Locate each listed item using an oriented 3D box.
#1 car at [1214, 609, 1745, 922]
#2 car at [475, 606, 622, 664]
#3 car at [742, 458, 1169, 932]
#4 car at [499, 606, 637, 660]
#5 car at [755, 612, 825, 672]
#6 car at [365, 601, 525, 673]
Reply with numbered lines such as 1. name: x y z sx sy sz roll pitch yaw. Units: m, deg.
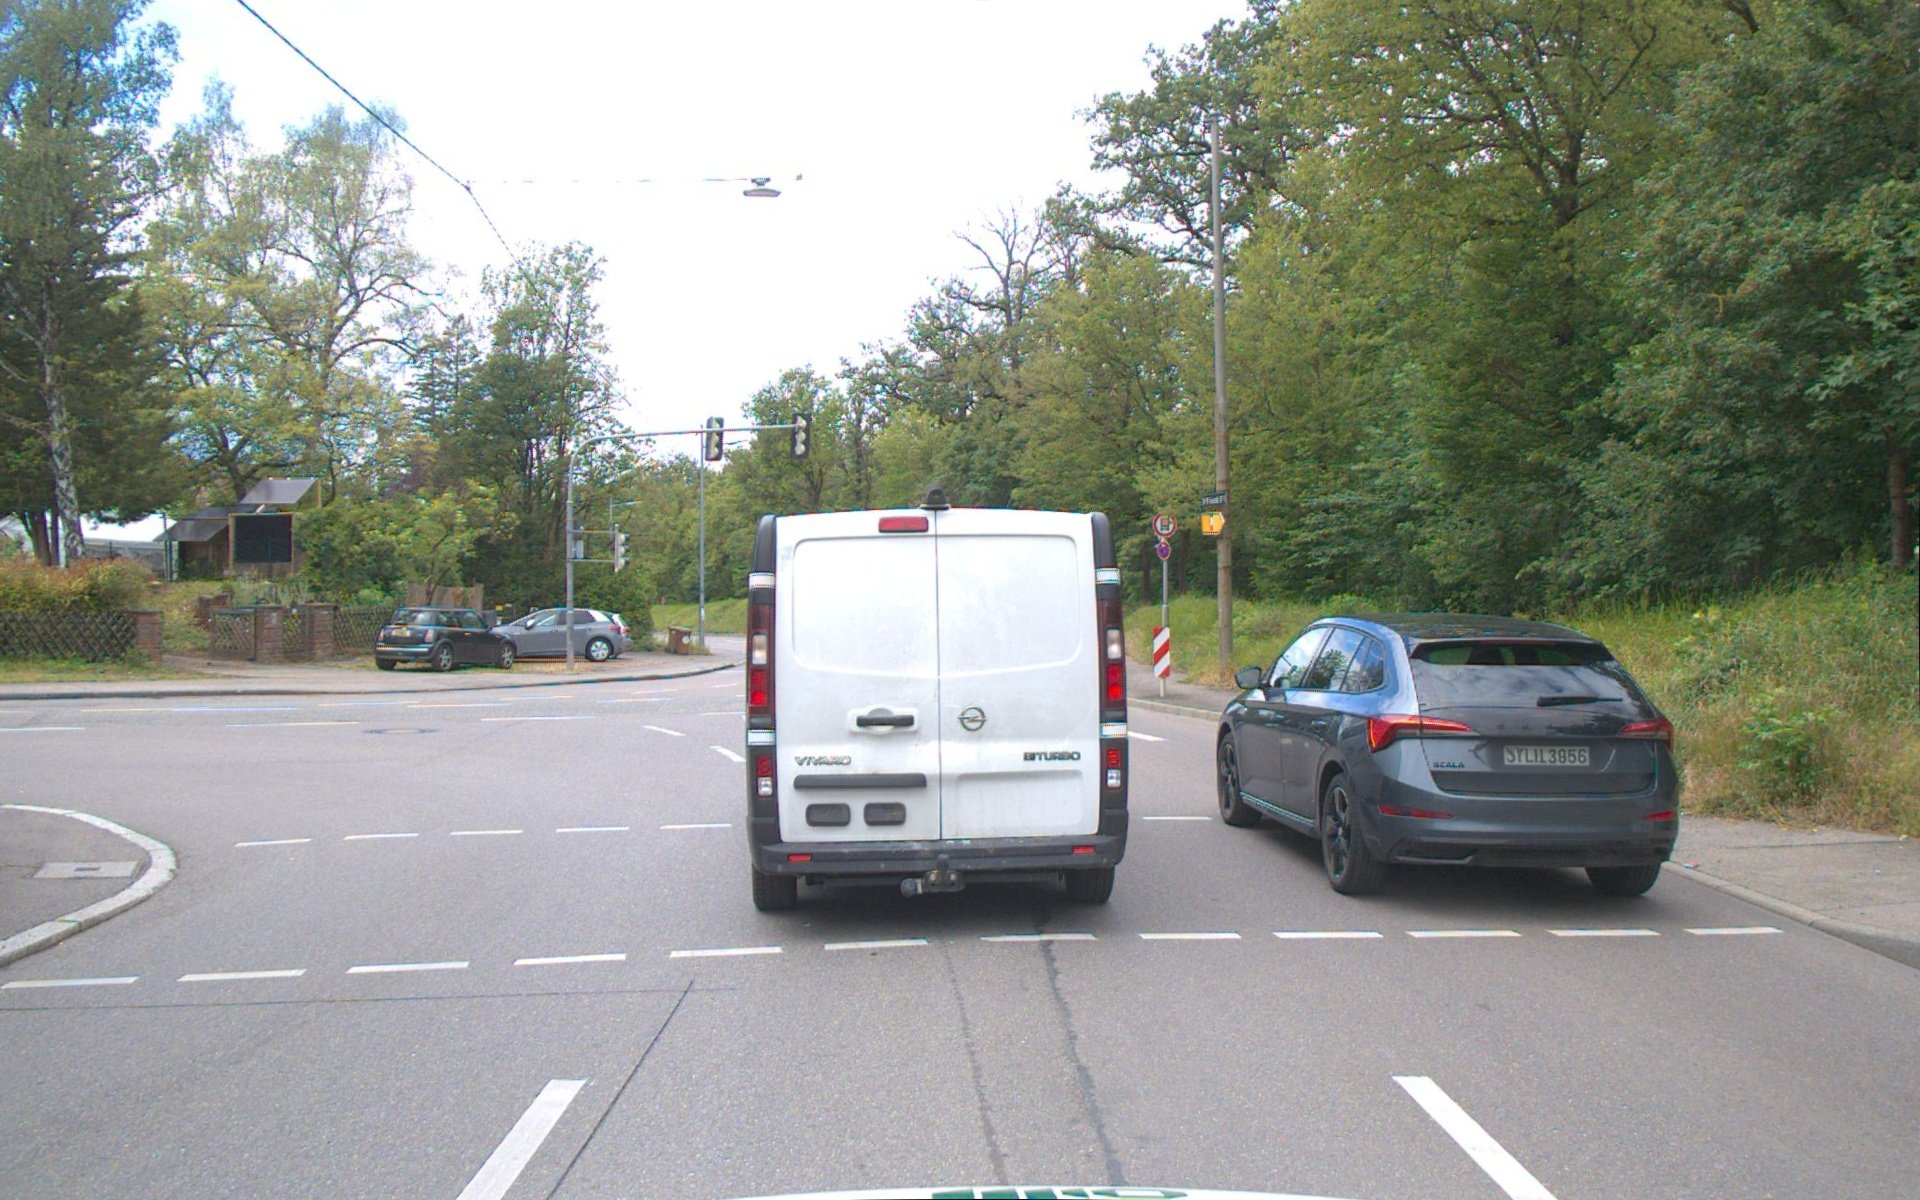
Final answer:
1. car: 2.806 0.800 9.928 1.757 1.476 3.997 0 0 -3
2. car: -11.909 0.989 47.844 4.022 1.580 1.846 0 0 -18
3. car: -0.117 0.439 9.723 1.878 2.089 4.611 1 0 -3
4. car: -12.068 0.994 50.900 4.022 1.580 1.846 0 0 -18
5. car: -4.709 1.143 46.283 1.820 1.533 3.996 1 0 -5
6. car: -11.667 0.830 37.697 1.662 1.474 3.544 2 0 19
